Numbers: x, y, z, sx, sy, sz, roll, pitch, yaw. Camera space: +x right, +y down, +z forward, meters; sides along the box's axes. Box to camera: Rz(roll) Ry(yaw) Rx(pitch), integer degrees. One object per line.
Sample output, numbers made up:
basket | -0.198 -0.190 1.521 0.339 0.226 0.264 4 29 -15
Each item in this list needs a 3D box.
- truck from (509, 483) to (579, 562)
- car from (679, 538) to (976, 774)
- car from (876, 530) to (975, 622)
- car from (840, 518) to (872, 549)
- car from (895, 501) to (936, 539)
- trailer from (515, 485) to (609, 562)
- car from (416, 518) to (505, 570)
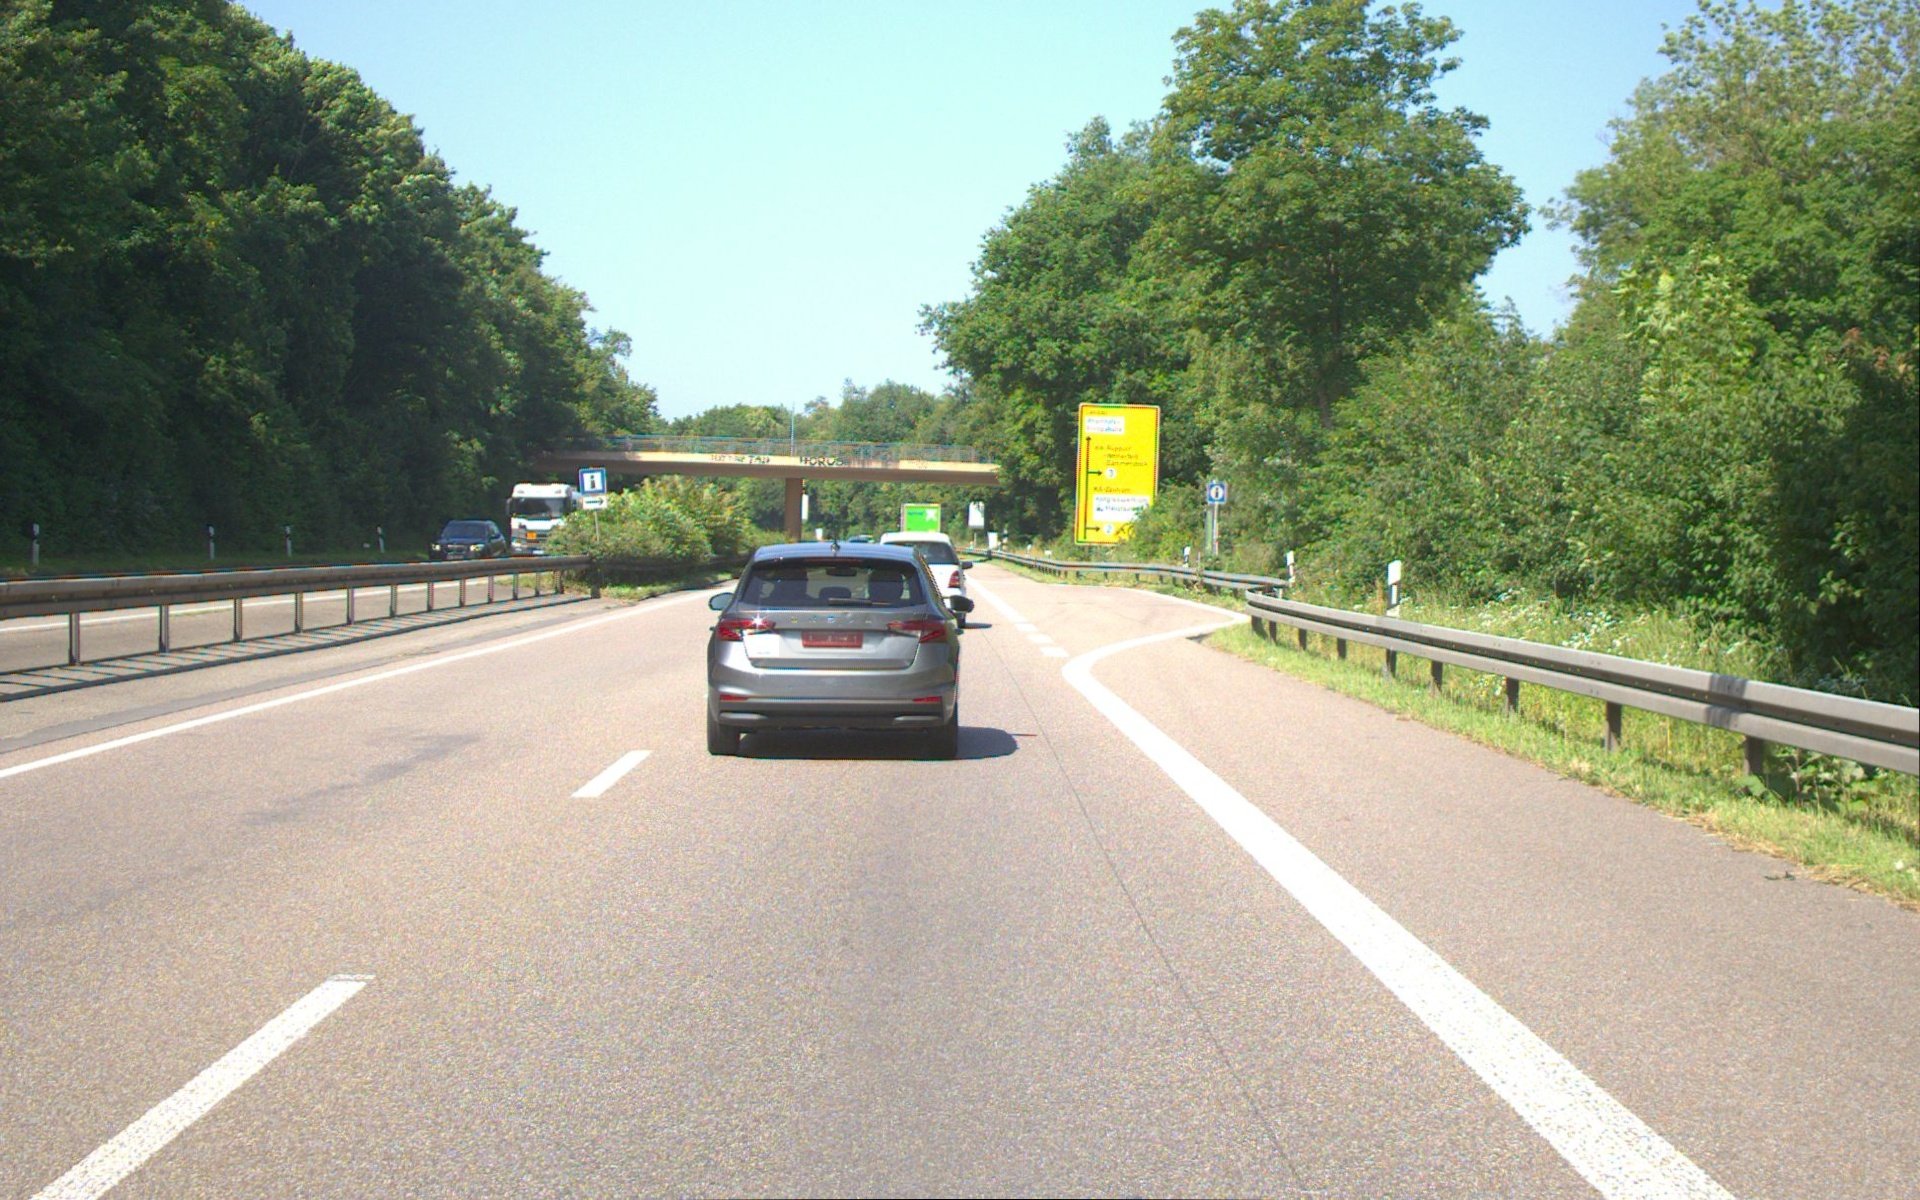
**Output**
truck | -17.583 -3.275 145.347 2.425 3.247 4.000 1 1 0
car | -0.848 0.331 24.020 1.840 1.467 3.623 1 1 1
car | -0.551 -0.421 57.261 1.522 1.442 3.340 1 1 1
car | -6.961 -4.459 229.985 1.993 2.007 4.000 1 1 0
car | -3.112 -5.604 241.417 2.748 2.645 4.000 1 1 0
trailer | -17.579 -3.362 152.753 2.492 3.224 14.432 1 1 0
car | -15.044 -1.674 103.711 1.842 1.505 4.551 1 1 2
